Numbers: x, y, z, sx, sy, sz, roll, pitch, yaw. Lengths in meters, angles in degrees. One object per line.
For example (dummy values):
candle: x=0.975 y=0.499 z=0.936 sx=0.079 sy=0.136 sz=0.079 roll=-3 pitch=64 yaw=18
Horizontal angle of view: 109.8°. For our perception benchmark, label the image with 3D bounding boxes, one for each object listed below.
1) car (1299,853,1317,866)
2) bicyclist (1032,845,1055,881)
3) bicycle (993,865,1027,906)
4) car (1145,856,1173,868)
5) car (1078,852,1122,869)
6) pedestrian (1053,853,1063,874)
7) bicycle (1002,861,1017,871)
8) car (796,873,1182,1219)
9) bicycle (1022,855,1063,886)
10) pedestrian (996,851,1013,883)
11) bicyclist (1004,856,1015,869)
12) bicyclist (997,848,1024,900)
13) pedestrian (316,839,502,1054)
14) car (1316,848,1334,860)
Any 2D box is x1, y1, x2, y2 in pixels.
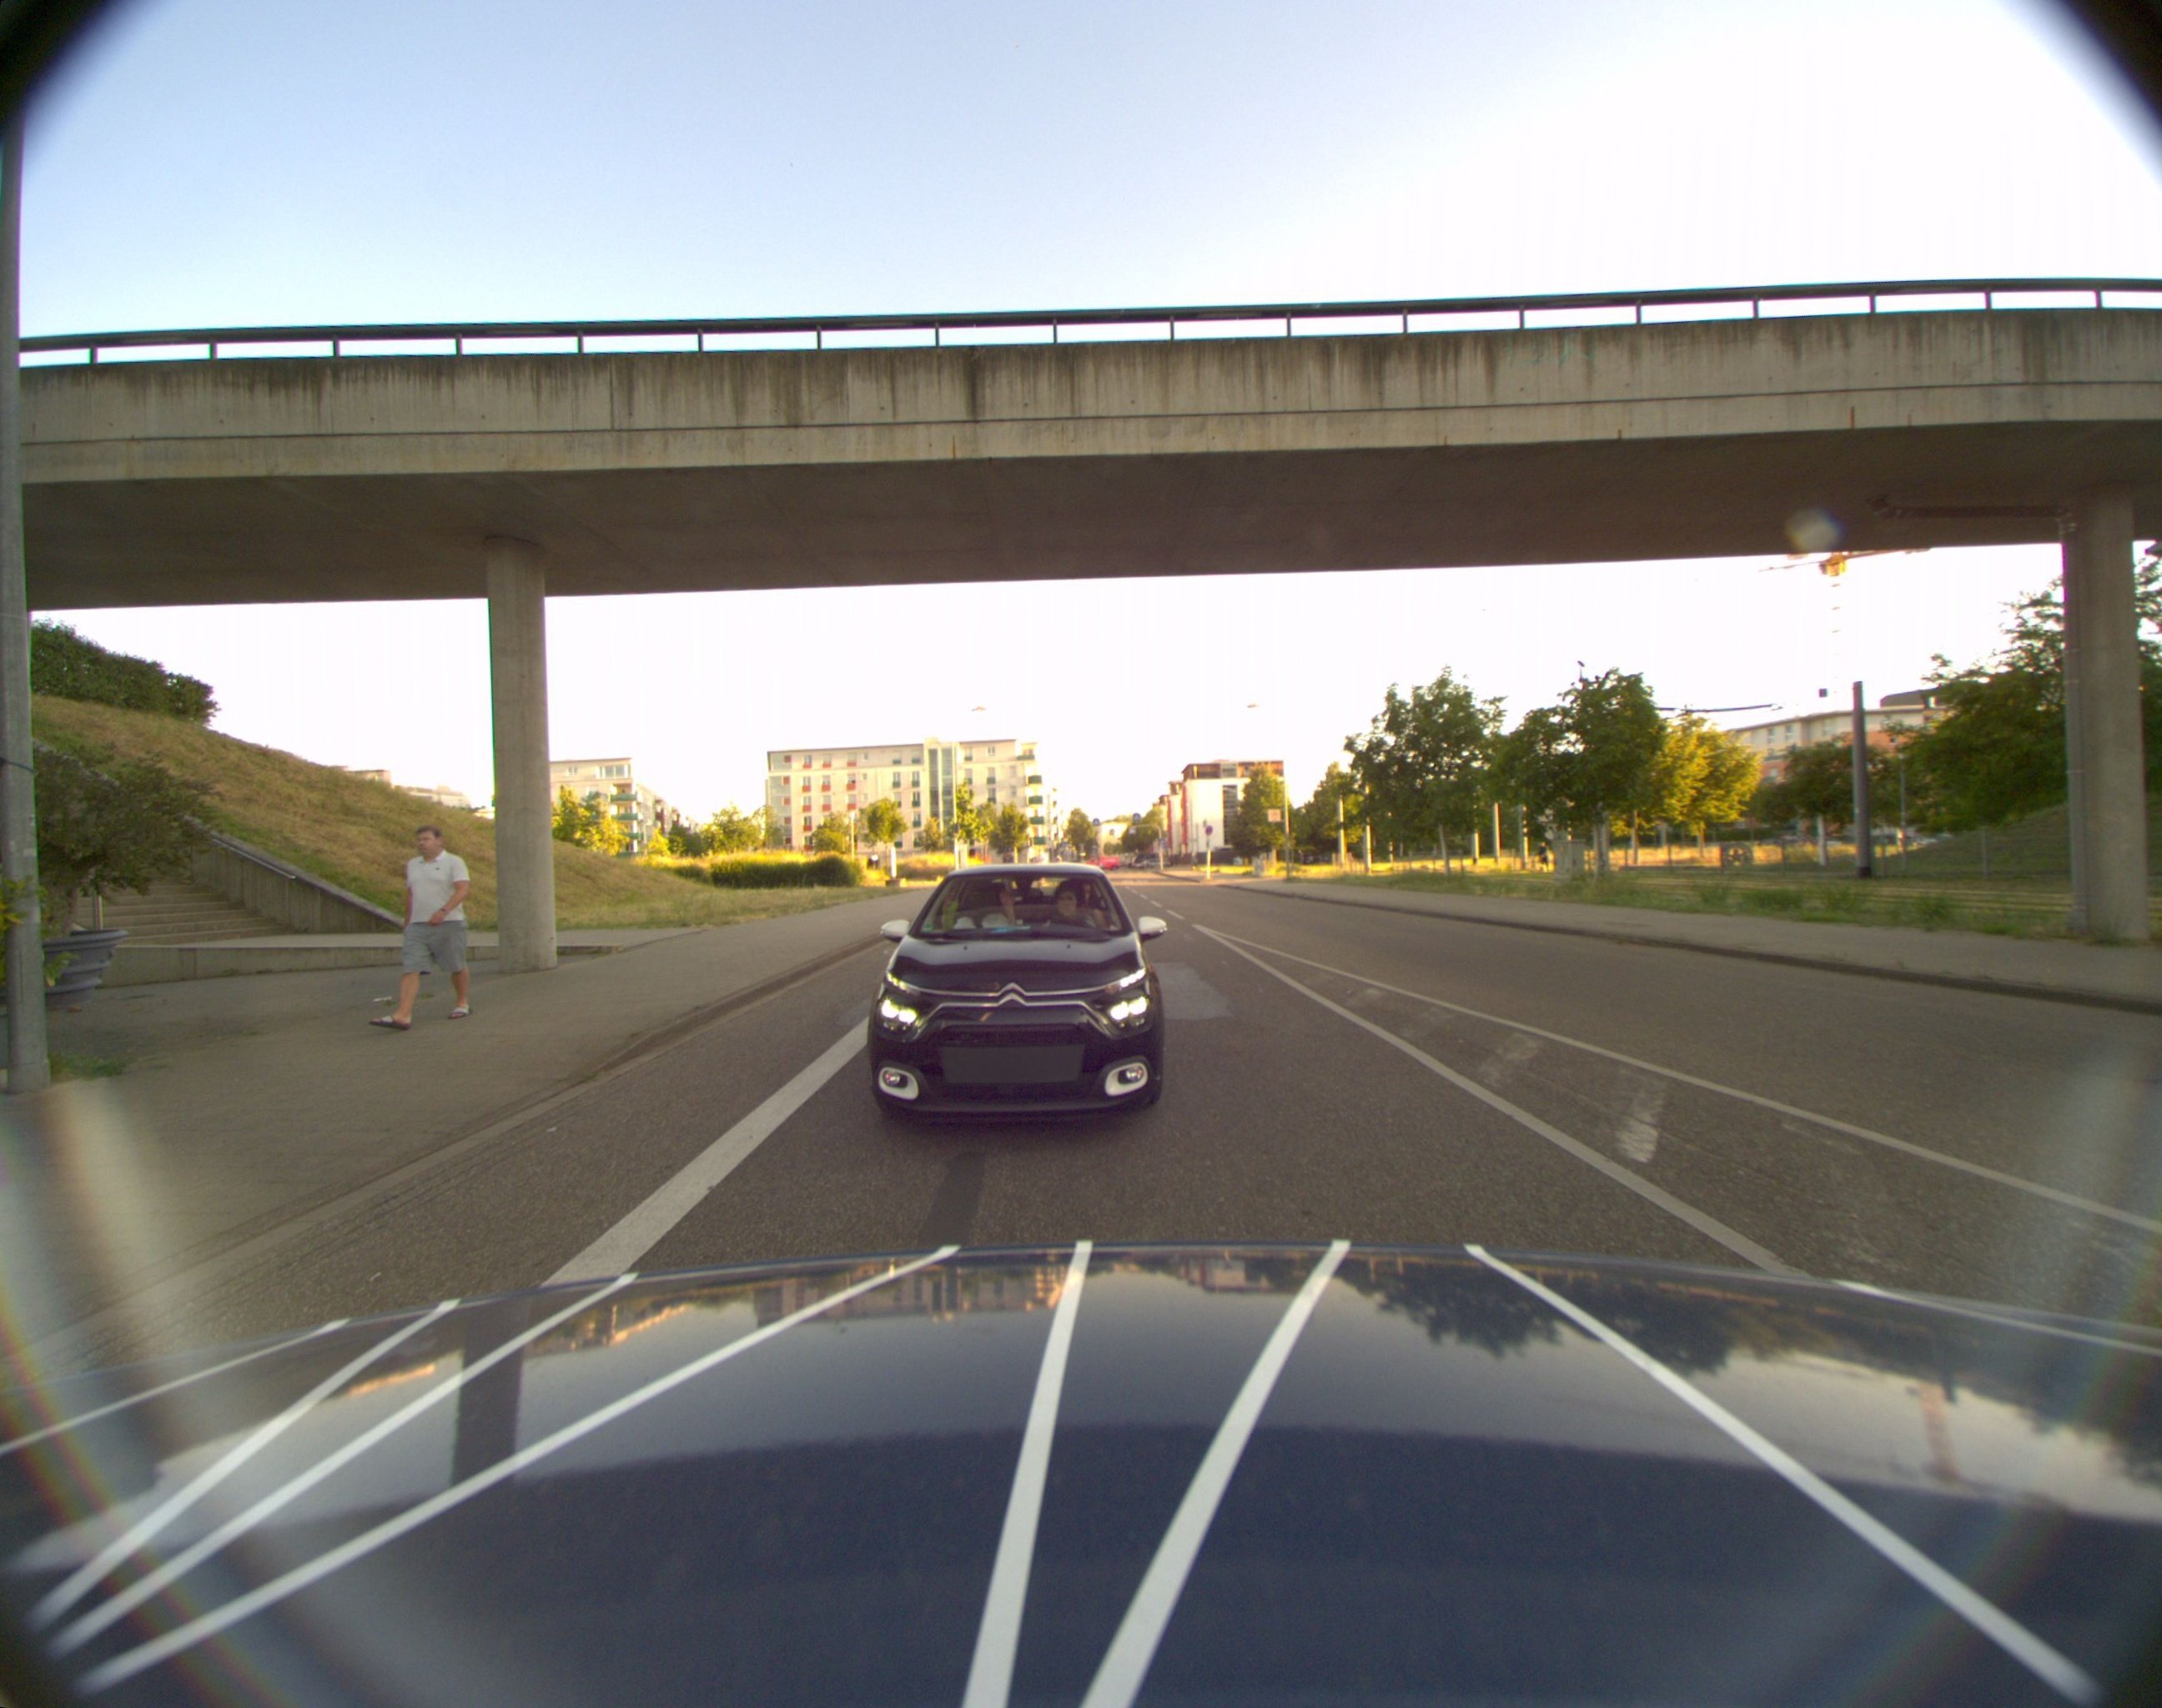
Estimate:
car: x=29.019 y=0.671 z=97.168 sx=1.942 sy=1.521 sz=4.004 roll=-2 pitch=0 yaw=14
bicyclist: x=-2.015 y=0.478 z=40.769 sx=0.882 sy=1.865 sz=1.035 roll=-2 pitch=0 yaw=14
bicycle: x=-2.269 y=0.983 z=24.594 sx=0.662 sy=1.217 sz=2.440 roll=-2 pitch=0 yaw=4
car: x=11.692 y=1.219 z=113.679 sx=3.996 sy=1.718 sz=2.000 roll=-2 pitch=0 yaw=2
car: x=2.495 y=0.893 z=99.249 sx=5.525 sy=2.002 sz=1.999 roll=-2 pitch=0 yaw=-6
pedestrian: x=-1.837 y=0.772 z=61.366 sx=0.737 sy=1.714 sz=0.532 roll=0 pitch=0 yaw=1
bicycle: x=-8.651 y=1.481 z=91.955 sx=0.901 sy=1.142 sz=3.492 roll=-2 pitch=0 yaw=-21
car: x=-0.392 y=0.946 z=5.519 sx=1.739 sy=1.455 sz=4.000 roll=-2 pitch=0 yaw=1
bicycle: x=-2.032 y=0.850 z=40.424 sx=0.885 sy=1.483 sz=3.326 roll=-2 pitch=0 yaw=20
pedestrian: x=-3.908 y=0.678 z=38.980 sx=0.737 sy=1.620 sz=0.859 roll=0 pitch=0 yaw=2
bicyclist: x=-8.610 y=1.037 z=91.612 sx=0.934 sy=1.585 sz=1.066 roll=-2 pitch=0 yaw=-23
bicyclist: x=-2.263 y=0.633 z=24.434 sx=0.697 sy=1.630 sz=0.852 roll=-2 pitch=0 yaw=3
pedestrian: x=-5.767 y=0.748 z=6.579 sx=0.737 sy=1.714 sz=0.906 roll=-2 pitch=0 yaw=1
car: x=31.056 y=-0.010 z=96.778 sx=1.942 sy=1.521 sz=4.004 roll=-2 pitch=0 yaw=14
